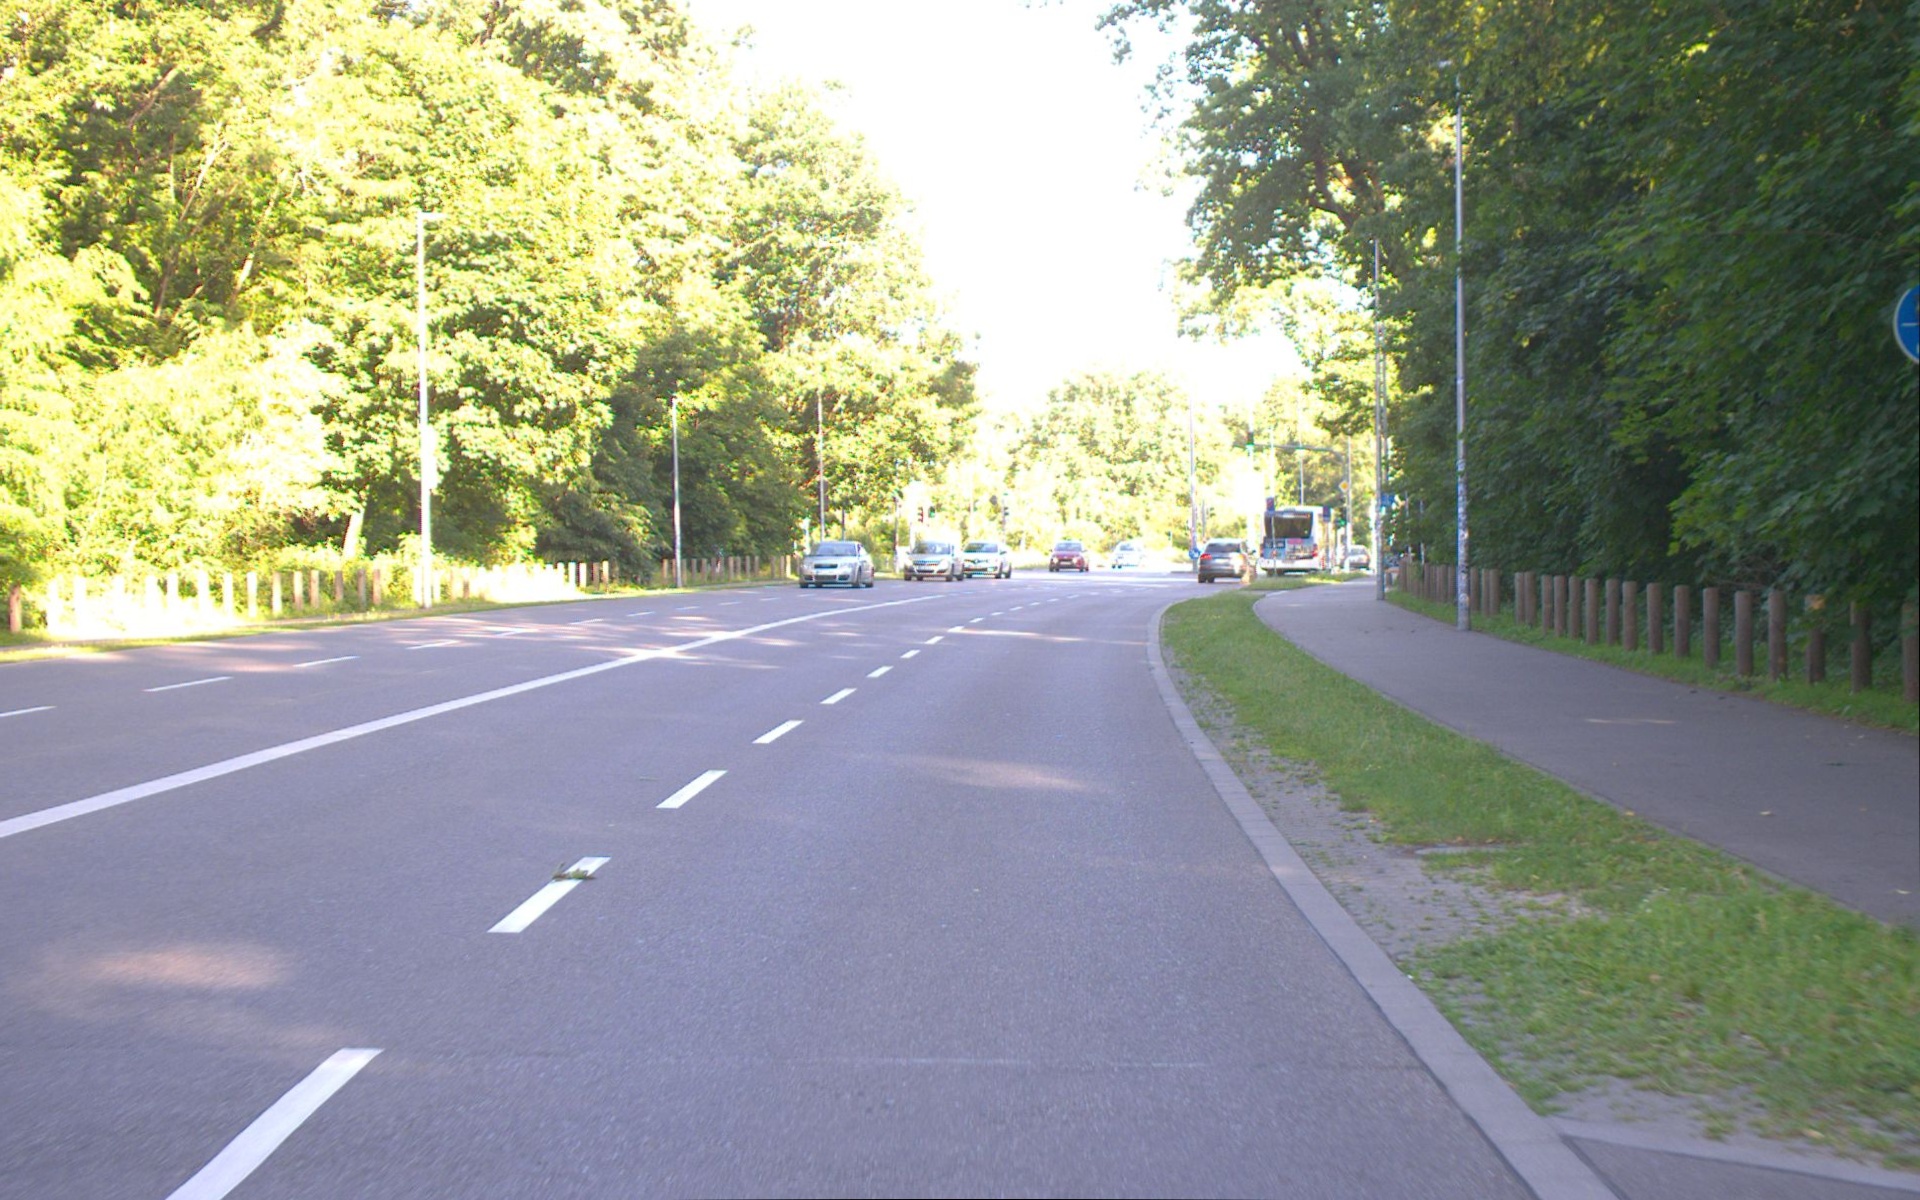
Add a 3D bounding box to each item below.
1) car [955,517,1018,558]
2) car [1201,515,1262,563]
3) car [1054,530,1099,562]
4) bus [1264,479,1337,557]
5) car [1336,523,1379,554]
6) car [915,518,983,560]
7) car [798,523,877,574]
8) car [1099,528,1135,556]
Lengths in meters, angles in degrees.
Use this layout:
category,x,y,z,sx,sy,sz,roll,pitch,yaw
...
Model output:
category,x,y,z,sx,sy,sz,roll,pitch,yaw
car,1.042,-2.454,134.429,1.783,1.517,4.396,0,1,9
car,10.208,-2.311,129.214,1.881,1.759,3.999,-1,1,10
car,5.700,-2.660,168.270,1.664,1.513,3.805,-1,1,10
bus,15.042,-3.633,151.462,2.606,3.357,7.972,0,2,10
car,22.171,-3.439,191.520,1.864,1.678,3.770,-1,1,14
car,-0.383,-2.174,122.860,1.780,1.459,4.273,1,1,9
car,-3.569,-1.513,100.740,1.780,1.403,4.165,0,2,6
car,8.767,-3.259,191.700,1.656,1.503,3.999,-1,1,8
